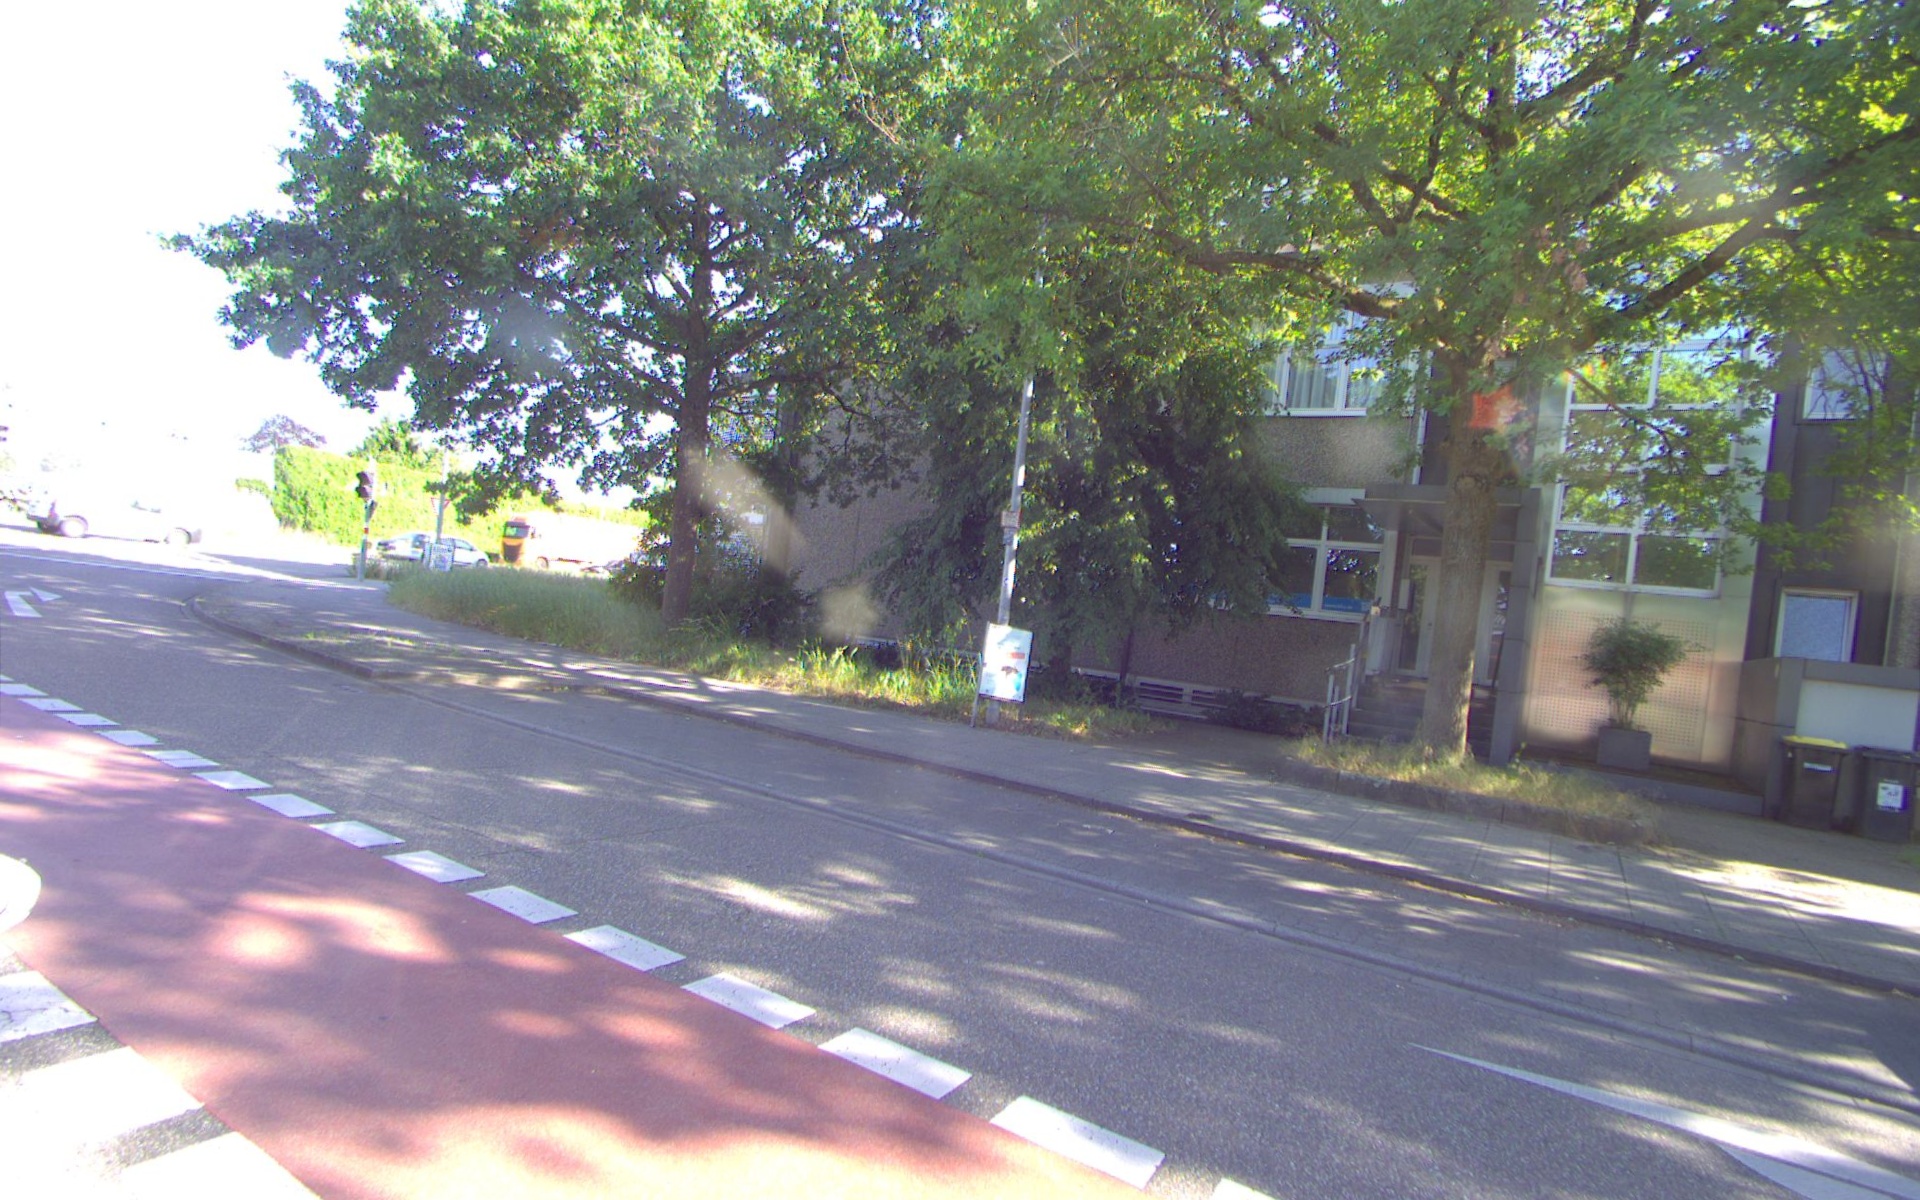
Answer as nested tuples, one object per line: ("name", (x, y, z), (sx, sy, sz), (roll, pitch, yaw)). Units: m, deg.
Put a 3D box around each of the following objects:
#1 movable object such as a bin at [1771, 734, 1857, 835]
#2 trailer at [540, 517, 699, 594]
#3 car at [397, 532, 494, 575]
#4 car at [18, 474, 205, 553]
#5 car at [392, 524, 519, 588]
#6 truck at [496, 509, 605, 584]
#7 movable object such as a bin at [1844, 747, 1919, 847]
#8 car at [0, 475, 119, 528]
("movable object such as a bin", (10.192, 2.180, 12.028), (0.571, 1.045, 0.713), (7, 0, 31))
("trailer", (-24.321, -3.012, 73.090), (2.426, 4.079, 12.767), (7, -1, 25))
("car", (-23.669, -2.107, 46.388), (1.565, 1.503, 3.680), (6, -1, 25))
("car", (-26.327, -2.648, 31.386), (1.433, 1.823, 4.120), (6, -1, 28))
("car", (-13.983, -1.174, 28.088), (1.433, 1.311, 3.412), (7, -2, 7))
("truck", (-27.171, -3.483, 66.996), (2.429, 4.047, 6.415), (7, 0, 25))
("movable object such as a bin", (10.796, 2.278, 11.710), (0.566, 1.019, 0.629), (6, -1, 31))
("car", (-33.826, -3.670, 36.952), (1.548, 1.317, 4.170), (6, -2, 28))
